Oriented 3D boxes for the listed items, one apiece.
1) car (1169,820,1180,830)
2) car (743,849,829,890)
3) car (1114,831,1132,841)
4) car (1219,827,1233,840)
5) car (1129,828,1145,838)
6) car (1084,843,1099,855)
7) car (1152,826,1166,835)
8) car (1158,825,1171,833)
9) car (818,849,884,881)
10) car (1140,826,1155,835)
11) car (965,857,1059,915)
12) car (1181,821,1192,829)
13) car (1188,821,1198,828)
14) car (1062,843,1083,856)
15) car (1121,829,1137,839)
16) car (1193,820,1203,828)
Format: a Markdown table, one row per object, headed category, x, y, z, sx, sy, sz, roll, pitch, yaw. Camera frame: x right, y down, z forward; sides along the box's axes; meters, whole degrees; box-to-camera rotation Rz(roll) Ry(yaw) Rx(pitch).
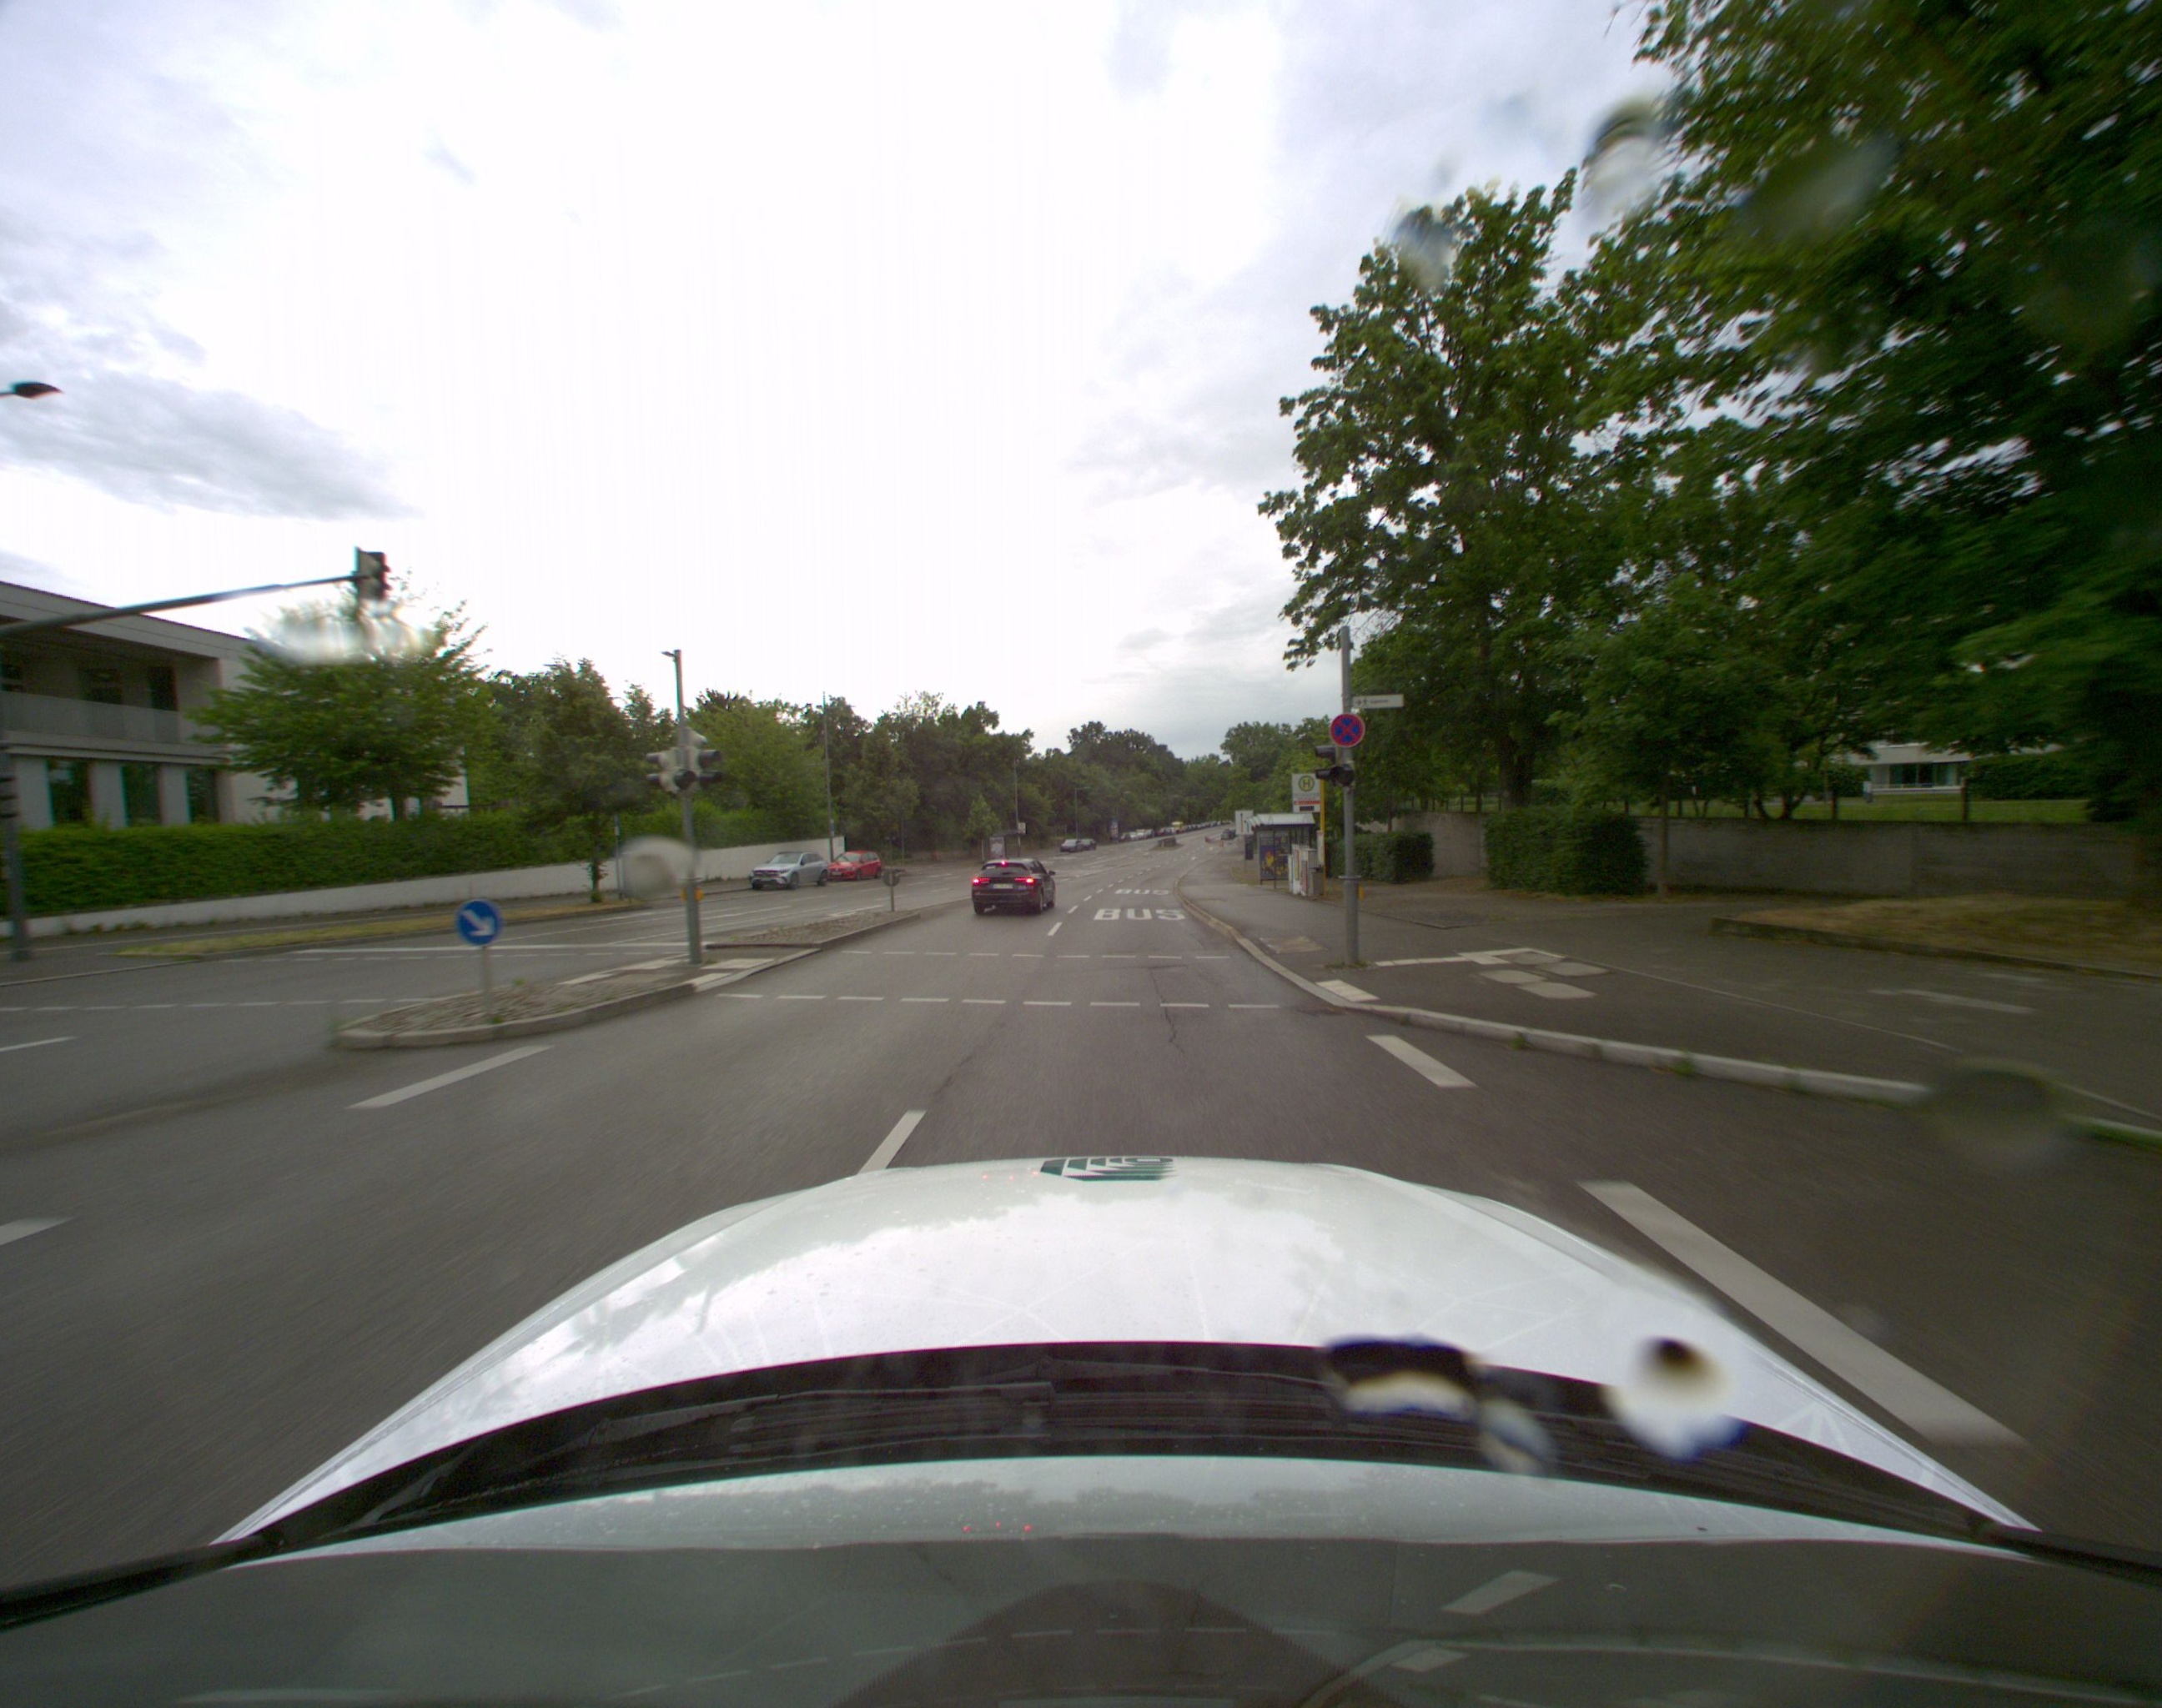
| category | x | y | z | sx | sy | sz | roll | pitch | yaw |
| --- | --- | --- | --- | --- | --- | --- | --- | --- | --- |
| car | 20.719 | -6.466 | 180.318 | 1.941 | 1.936 | 4.019 | 1 | 4 | 16 |
| car | -13.287 | 0.657 | 36.917 | 1.842 | 1.639 | 4.105 | 1 | 1 | 10 |
| car | 6.856 | -2.947 | 132.645 | 1.941 | 1.485 | 4.019 | 1 | 5 | 16 |
| car | 24.476 | -3.495 | 137.247 | 1.980 | 2.077 | 4.016 | 1 | 4 | 13 |
| car | 9.803 | -3.707 | 142.271 | 1.941 | 1.485 | 4.019 | 1 | 5 | 16 |
| car | 1.330 | -0.676 | 104.072 | 1.407 | 1.424 | 3.132 | -1 | 0 | 11 |
| car | 15.596 | -4.685 | 162.815 | 1.941 | 1.485 | 4.019 | 1 | 5 | 16 |
| car | 17.201 | -5.093 | 167.979 | 1.941 | 1.485 | 4.019 | 1 | 5 | 16 |
| car | -12.364 | 0.548 | 44.056 | 1.864 | 1.575 | 4.233 | 0 | 1 | 8 |
| car | 12.259 | -4.357 | 150.512 | 1.941 | 1.485 | 4.019 | 1 | 5 | 16 |
| car | -1.771 | 0.793 | 22.515 | 1.791 | 1.430 | 4.527 | 0 | 0 | 5 |
| car | 25.113 | -6.827 | 193.597 | 1.941 | 1.652 | 4.019 | 1 | 5 | 16 |
| car | 27.352 | -7.190 | 199.301 | 1.941 | 1.652 | 4.019 | 1 | 5 | 16 |
| car | -1.041 | -0.545 | 98.099 | 1.701 | 1.460 | 3.763 | -1 | 0 | 12 |
| car | 8.091 | -3.327 | 137.472 | 1.845 | 1.485 | 4.019 | 1 | 5 | 16 |
| car | 29.176 | -7.512 | 203.804 | 1.941 | 1.652 | 4.019 | 1 | 5 | 16 |
